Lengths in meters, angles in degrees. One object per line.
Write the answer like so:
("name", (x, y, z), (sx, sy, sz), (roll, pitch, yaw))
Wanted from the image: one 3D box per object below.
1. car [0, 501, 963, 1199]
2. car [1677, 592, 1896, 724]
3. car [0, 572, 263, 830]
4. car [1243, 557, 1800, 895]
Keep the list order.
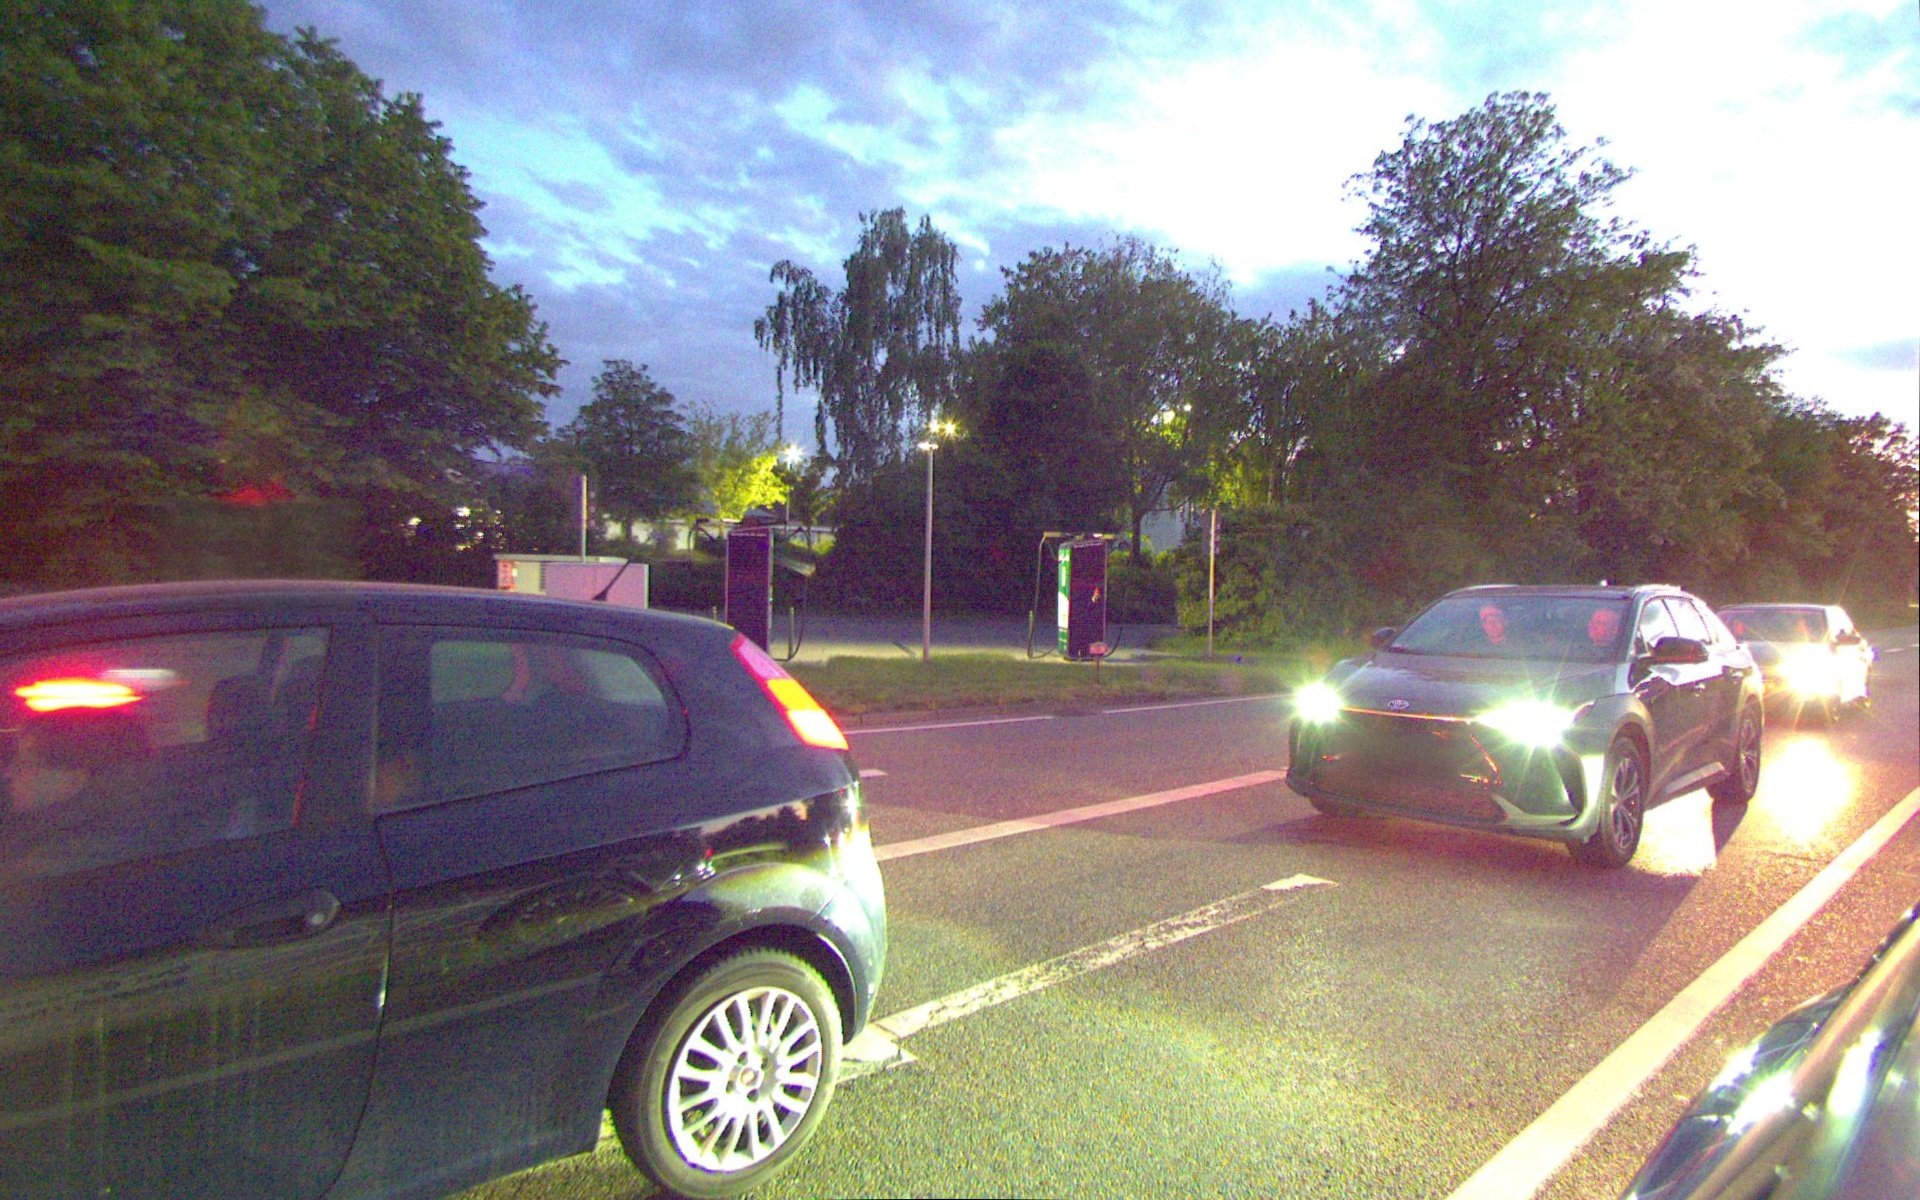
("car", (-2.074, 0.604, 2.169), (4.032, 1.540, 1.674), (0, 1, -39))
("car", (10.954, 0.653, 13.329), (3.803, 1.487, 1.622), (0, 0, -41))
("car", (-7.064, 0.540, 5.949), (4.606, 1.450, 1.928), (0, 1, -25))
("car", (4.190, 0.597, 7.172), (4.629, 1.630, 1.997), (0, 0, -41))
